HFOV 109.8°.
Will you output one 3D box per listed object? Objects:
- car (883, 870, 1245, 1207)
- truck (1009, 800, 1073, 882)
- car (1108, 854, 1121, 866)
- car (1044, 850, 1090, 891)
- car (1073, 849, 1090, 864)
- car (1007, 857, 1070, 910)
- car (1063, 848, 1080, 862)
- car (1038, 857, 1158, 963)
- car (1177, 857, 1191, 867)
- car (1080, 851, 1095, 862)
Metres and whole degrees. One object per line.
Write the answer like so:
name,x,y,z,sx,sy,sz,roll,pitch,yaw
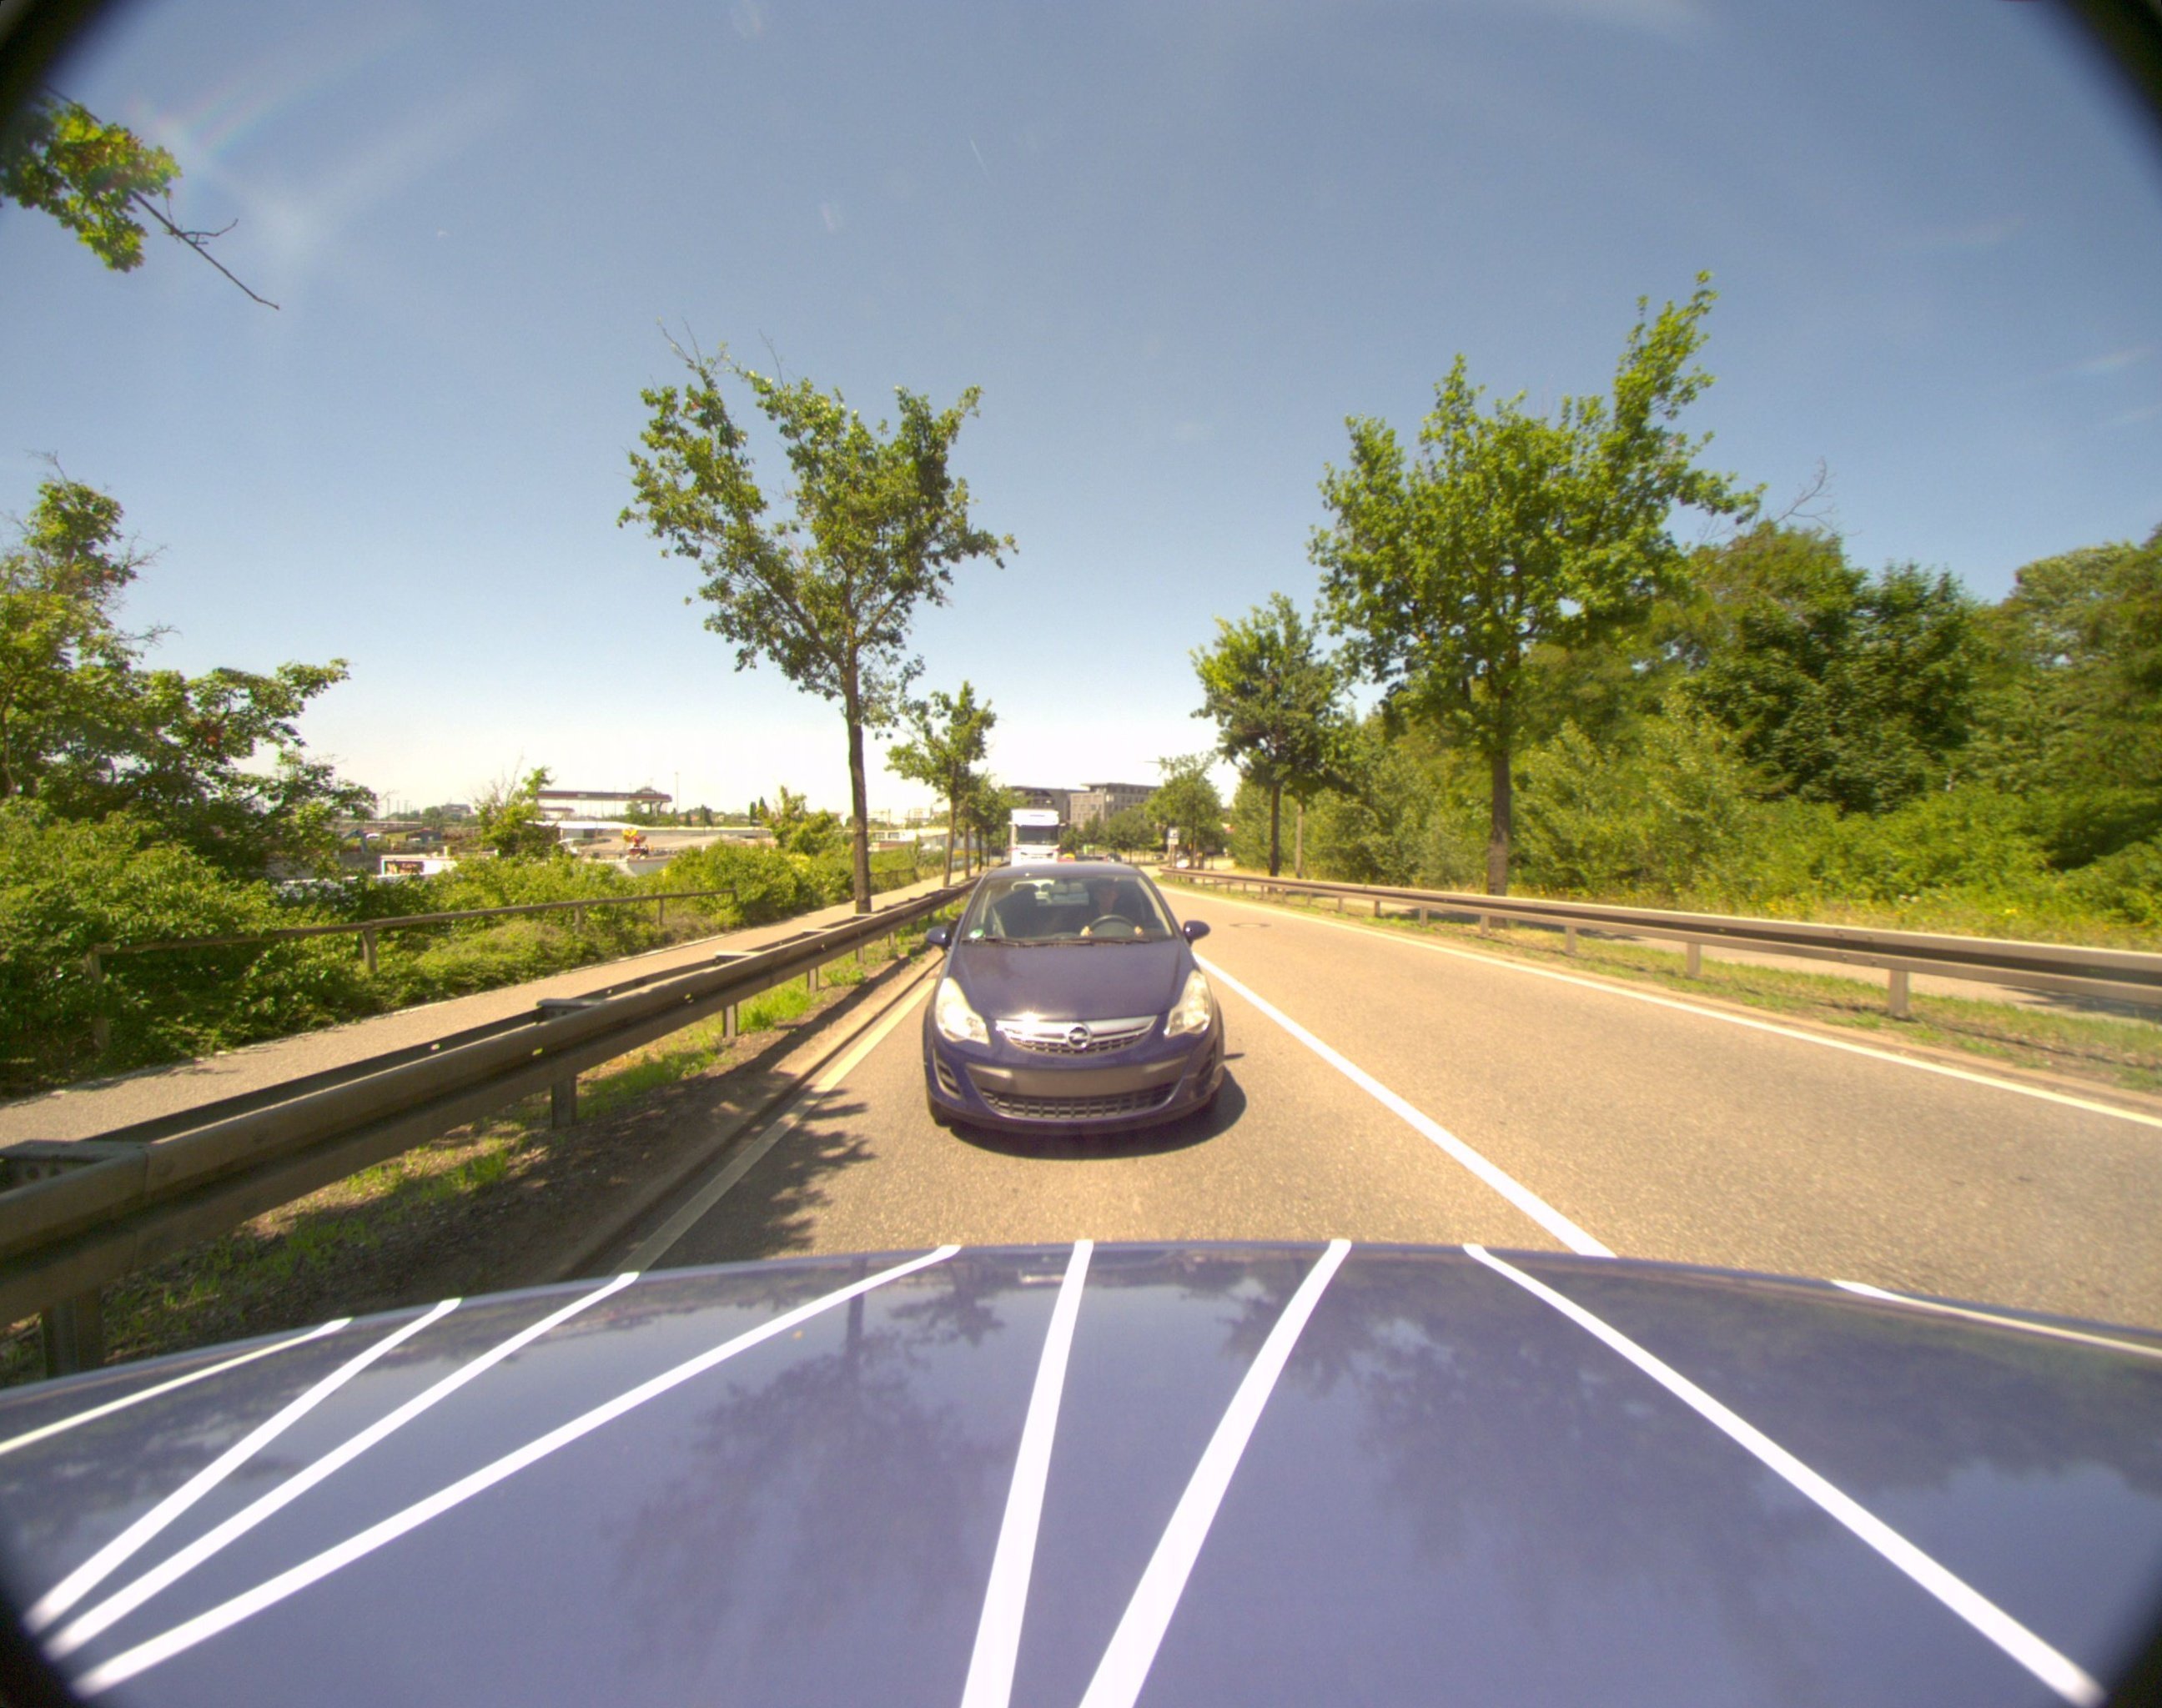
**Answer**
car,-0.183,0.931,5.628,1.720,1.455,3.836,-2,1,-3
truck,-2.860,-0.751,47.822,3.072,4.146,16.900,-2,1,-6
car,6.223,1.121,138.897,1.779,2.002,4.003,-2,1,10
car,-0.638,0.650,32.244,1.780,1.569,3.999,-2,1,-2
car,0.129,0.360,109.248,1.779,2.002,4.002,-2,1,8
car,-1.395,0.863,24.078,1.781,1.398,3.998,-2,1,-4
car,-1.134,0.155,93.818,1.742,1.608,4.001,-2,1,4
car,0.225,0.863,13.505,1.780,1.498,3.895,-2,1,-1
car,16.981,1.364,125.014,1.778,1.435,4.004,-2,1,16
car,1.013,0.366,117.620,1.779,1.657,4.002,-2,1,8
